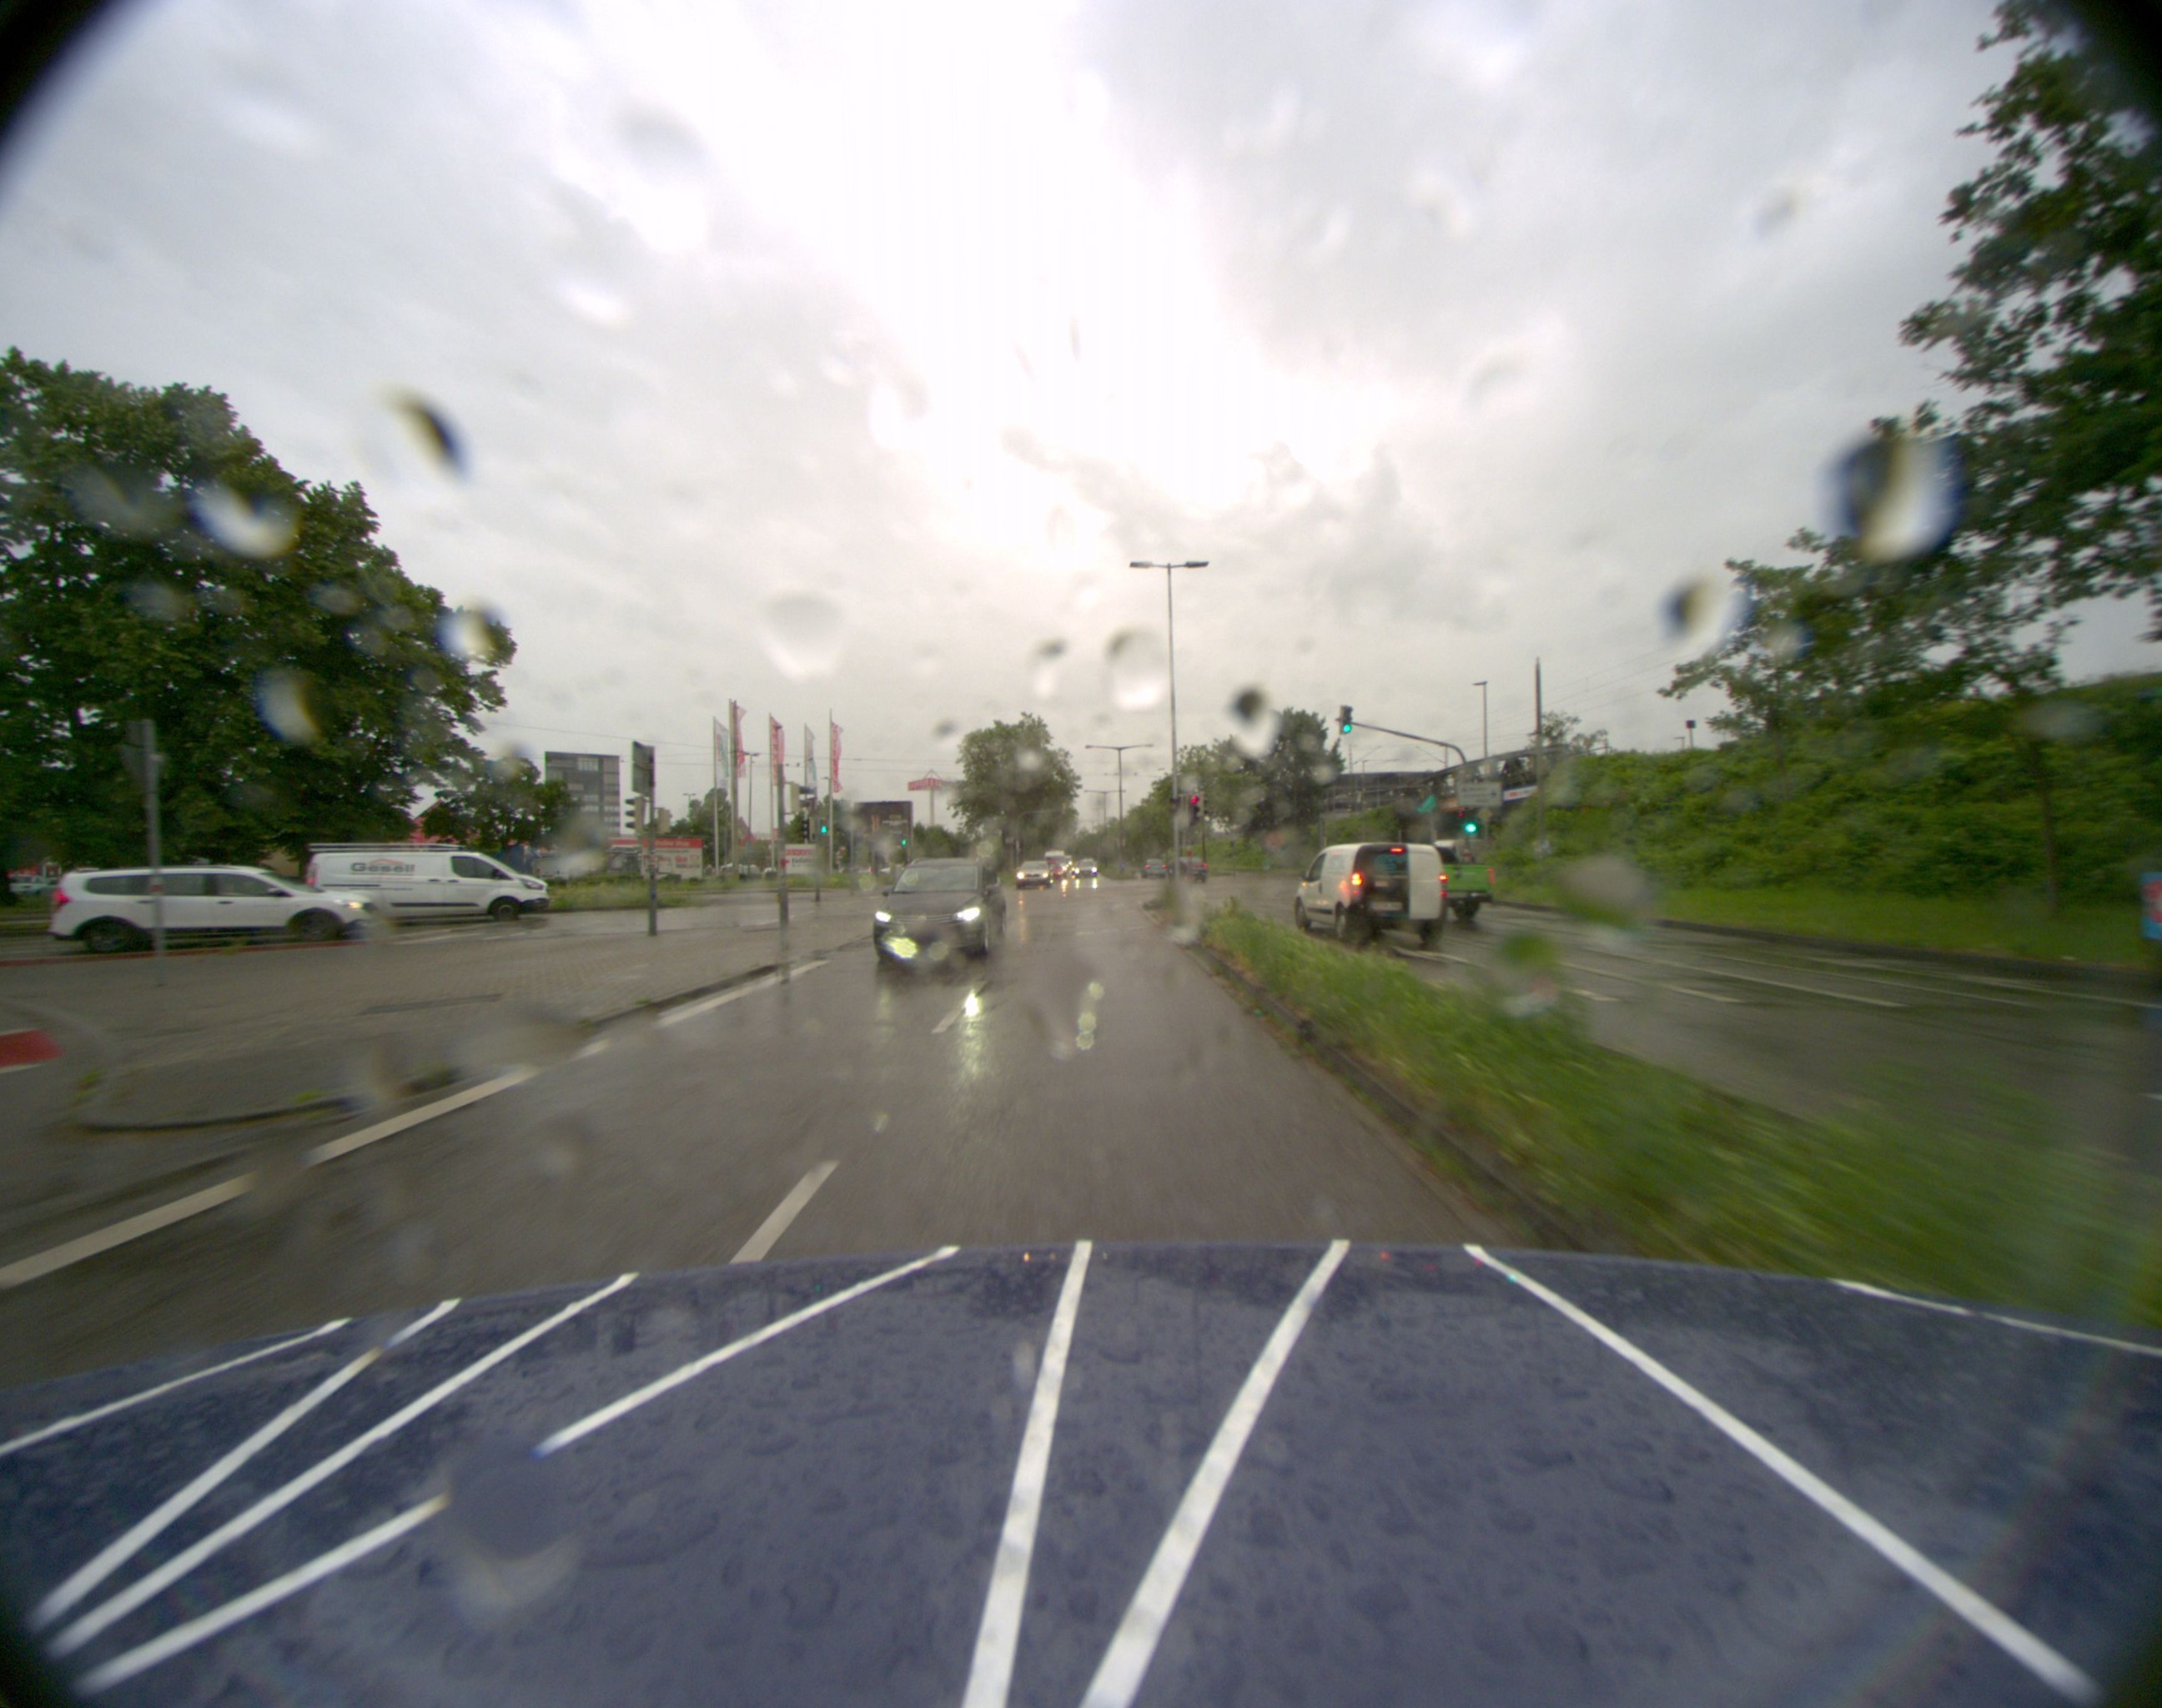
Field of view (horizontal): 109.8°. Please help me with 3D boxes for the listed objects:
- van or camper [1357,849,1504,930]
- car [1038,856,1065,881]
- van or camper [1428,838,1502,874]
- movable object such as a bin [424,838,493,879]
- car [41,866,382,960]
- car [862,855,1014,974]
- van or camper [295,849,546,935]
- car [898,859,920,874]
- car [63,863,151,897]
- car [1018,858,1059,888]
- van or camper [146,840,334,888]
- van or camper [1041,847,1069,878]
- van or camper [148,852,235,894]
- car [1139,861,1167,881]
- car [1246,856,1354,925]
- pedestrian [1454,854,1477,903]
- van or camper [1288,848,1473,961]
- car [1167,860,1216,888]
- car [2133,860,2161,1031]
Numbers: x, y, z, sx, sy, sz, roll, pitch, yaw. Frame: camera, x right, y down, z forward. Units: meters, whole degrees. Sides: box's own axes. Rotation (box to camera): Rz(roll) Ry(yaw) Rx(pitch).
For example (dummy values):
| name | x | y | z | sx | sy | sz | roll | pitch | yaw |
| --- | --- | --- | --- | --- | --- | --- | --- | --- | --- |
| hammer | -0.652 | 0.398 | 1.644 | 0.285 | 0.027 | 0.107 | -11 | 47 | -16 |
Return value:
| name | x | y | z | sx | sy | sz | roll | pitch | yaw |
| --- | --- | --- | --- | --- | --- | --- | --- | --- | --- |
| van or camper | 8.517 | 0.786 | 18.960 | 1.705 | 1.774 | 4.220 | 0 | 0 | 0 |
| car | -2.154 | 1.032 | 57.227 | 1.699 | 1.759 | 4.558 | -1 | 0 | 2 |
| van or camper | 29.830 | 0.094 | 58.909 | 6.941 | 2.647 | 1.995 | -1 | 1 | -35 |
| movable object such as a bin | -52.760 | 0.336 | 64.534 | 4.260 | 3.266 | 2.321 | -3 | 2 | -37 |
| car | -18.009 | 1.128 | 16.159 | 4.470 | 1.663 | 1.863 | -1 | 0 | -38 |
| car | -2.345 | 0.918 | 13.606 | 1.861 | 1.716 | 4.190 | -2 | 0 | 0 |
| van or camper | -17.536 | 0.911 | 20.536 | 4.917 | 2.076 | 1.863 | -1 | 0 | -38 |
| car | -20.918 | 1.502 | 92.621 | 1.822 | 1.610 | 3.999 | -1 | 0 | -1 |
| car | -53.538 | 1.398 | 41.862 | 1.870 | 1.718 | 3.957 | -1 | 0 | -34 |
| car | -2.190 | 0.958 | 40.377 | 1.807 | 1.422 | 4.387 | -1 | 0 | 1 |
| van or camper | -63.585 | 0.698 | 57.881 | 8.994 | 3.139 | 2.979 | -3 | 2 | -35 |
| van or camper | -2.313 | 0.734 | 68.761 | 2.100 | 2.579 | 4.776 | -2 | 0 | 2 |
| van or camper | -50.867 | 1.048 | 43.569 | 2.138 | 2.286 | 4.455 | -1 | 0 | -34 |
| car | 5.862 | 1.379 | 62.244 | 1.697 | 1.592 | 3.622 | 0 | 0 | -4 |
| car | 5.651 | 0.878 | 20.038 | 1.780 | 1.552 | 3.774 | -2 | 0 | 1 |
| pedestrian | 14.098 | 0.881 | 27.872 | 0.485 | 1.777 | 0.626 | -1 | 1 | -8 |
| van or camper | 5.176 | 0.783 | 13.761 | 1.733 | 1.732 | 4.000 | 1 | 0 | 0 |
| car | 6.796 | 1.218 | 47.225 | 1.977 | 1.592 | 4.386 | 0 | 0 | -6 |
| car | 11.111 | 0.854 | 5.134 | 1.903 | 1.603 | 4.405 | 0 | 0 | 0 |
